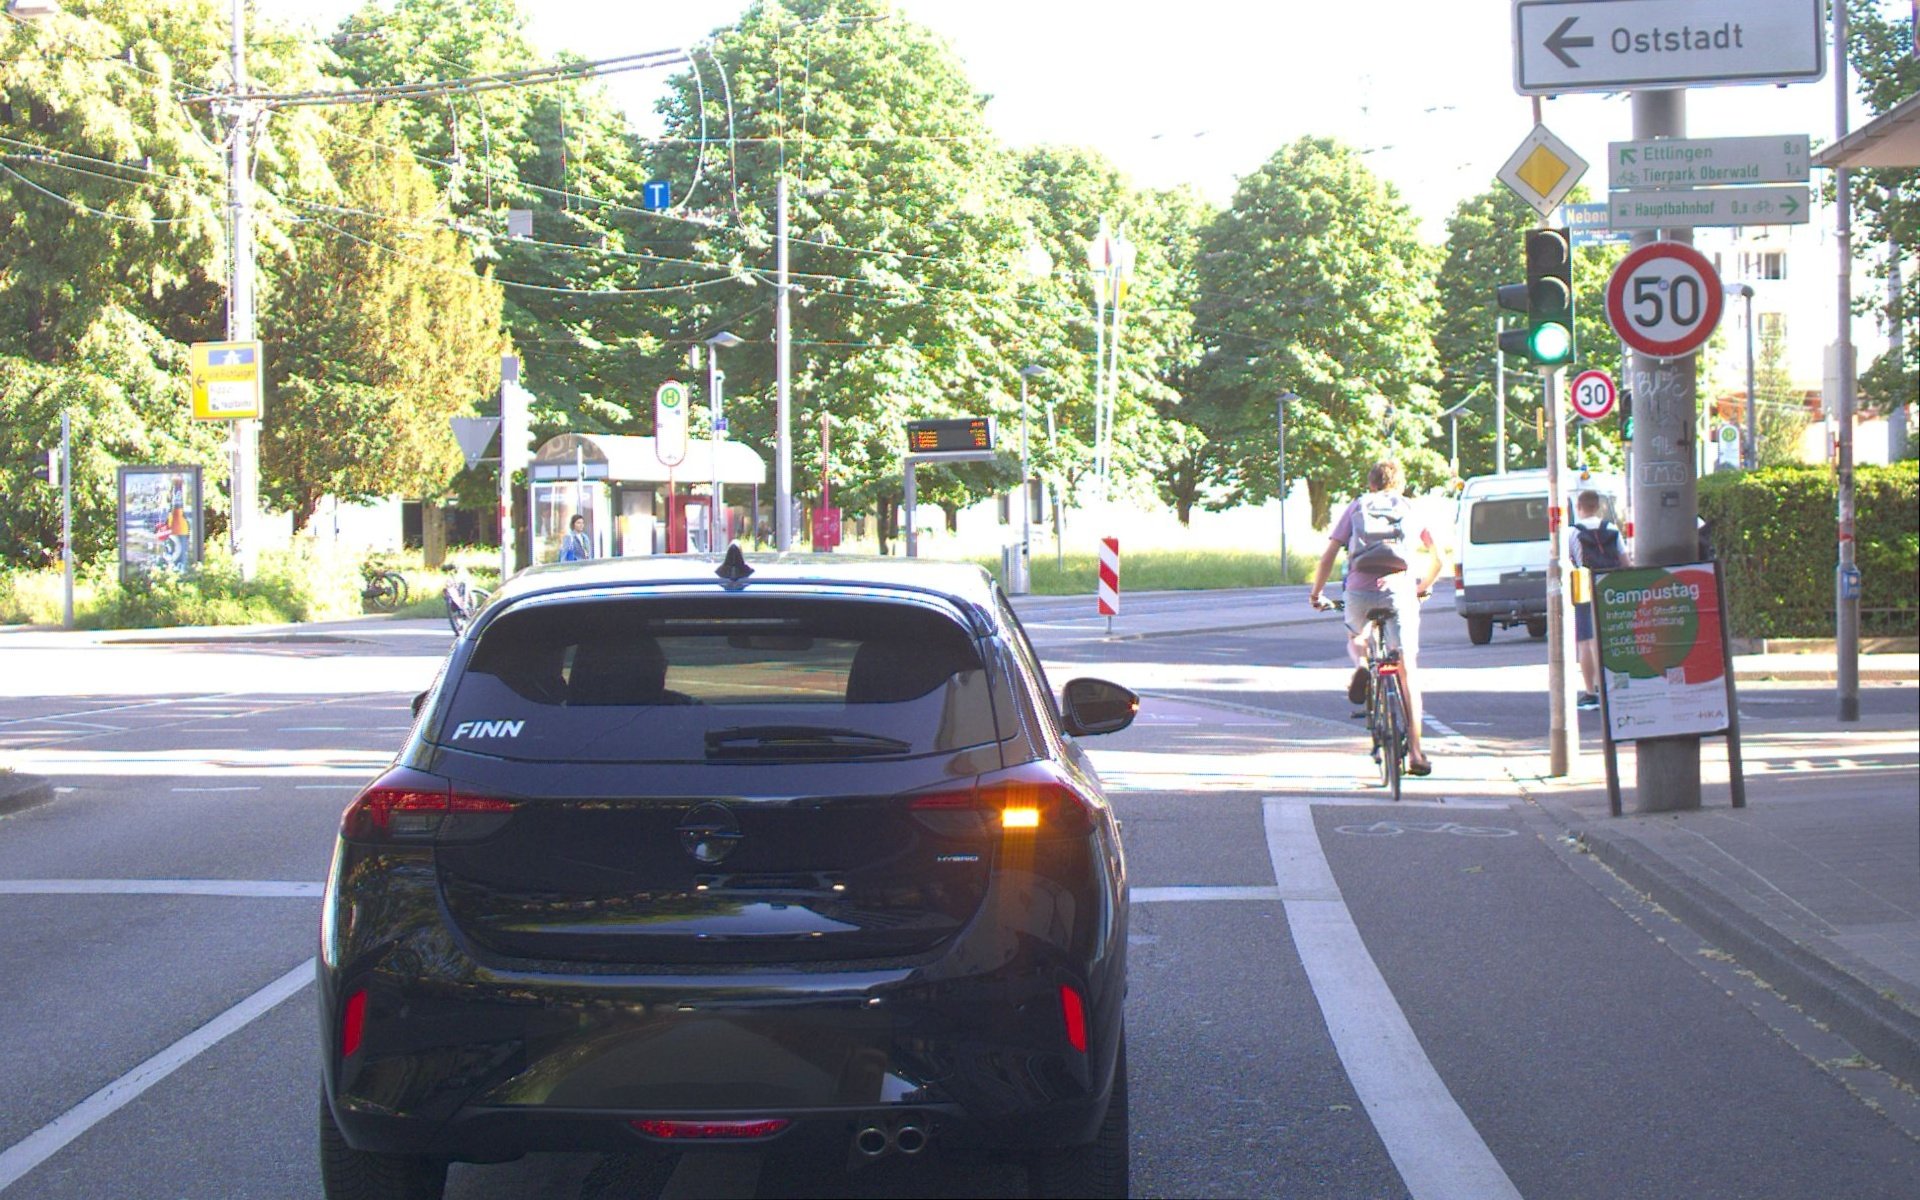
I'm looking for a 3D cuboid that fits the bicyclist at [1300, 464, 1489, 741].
[{"bbox_3d":[2.436,-0.002,19.416,0.840,1.504,1.369,0,1,-2],"label":"bicyclist"}]

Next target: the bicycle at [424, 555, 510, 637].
[{"bbox_3d":[-6.636,-0.066,46.369,0.825,1.056,1.883,0,1,2],"label":"bicycle"}]

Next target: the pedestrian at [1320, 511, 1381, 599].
[{"bbox_3d":[7.994,-0.925,70.384,0.959,1.786,0.994,0,1,25],"label":"pedestrian"}]

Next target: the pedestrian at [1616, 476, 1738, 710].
[{"bbox_3d":[5.727,-0.065,27.450,0.704,1.840,0.699,0,1,39],"label":"pedestrian"}]

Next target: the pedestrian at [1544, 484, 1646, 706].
[{"bbox_3d":[5.176,-0.049,28.029,0.698,1.786,0.617,-1,1,-1],"label":"pedestrian"}]

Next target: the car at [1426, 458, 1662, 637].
[{"bbox_3d":[7.840,-0.680,45.829,2.092,2.270,4.300,1,0,24],"label":"car"}]

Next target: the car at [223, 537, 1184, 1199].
[{"bbox_3d":[-0.452,0.581,8.449,1.800,1.436,3.940,-1,1,1],"label":"car"}]

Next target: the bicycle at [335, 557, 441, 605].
[{"bbox_3d":[-10.889,-0.364,65.427,1.877,0.903,0.659,0,1,7],"label":"bicycle"}]

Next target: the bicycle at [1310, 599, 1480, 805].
[{"bbox_3d":[2.436,0.546,19.455,0.667,1.056,2.082,0,1,-1],"label":"bicycle"}]

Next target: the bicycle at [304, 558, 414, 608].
[{"bbox_3d":[-11.111,-0.320,63.572,1.877,0.903,0.659,0,1,7],"label":"bicycle"}]

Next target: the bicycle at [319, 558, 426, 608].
[{"bbox_3d":[-11.027,-0.323,64.557,1.877,0.903,0.659,0,1,7],"label":"bicycle"}]

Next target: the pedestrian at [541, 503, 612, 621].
[{"bbox_3d":[-5.530,-0.554,49.545,0.699,1.687,0.727,-2,2,-43],"label":"pedestrian"}]
